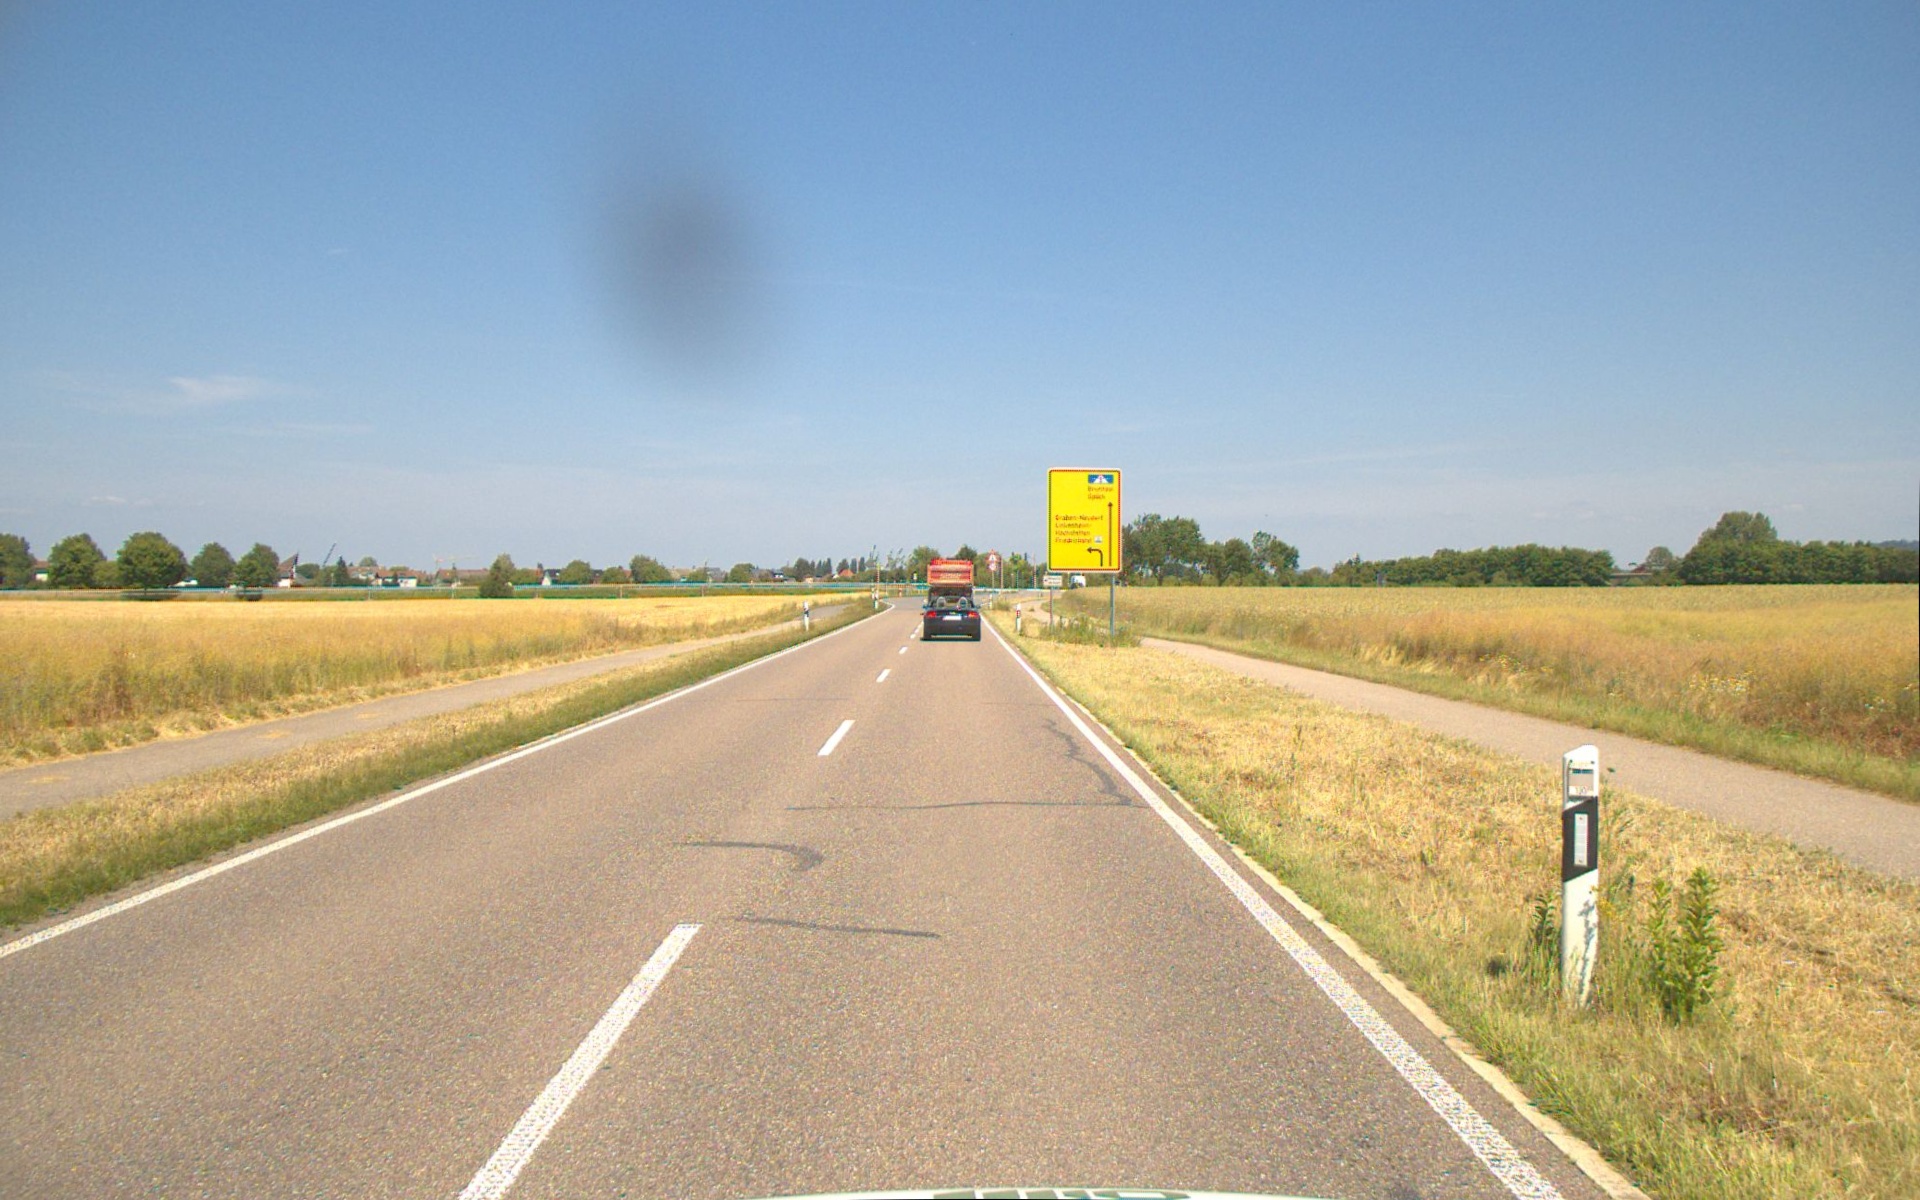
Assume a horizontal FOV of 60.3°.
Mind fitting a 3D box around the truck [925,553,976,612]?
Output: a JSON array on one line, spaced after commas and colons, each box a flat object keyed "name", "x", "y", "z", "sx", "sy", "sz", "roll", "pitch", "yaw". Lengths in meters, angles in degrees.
[{"name": "truck", "x": -0.544, "y": -0.924, "z": 92.368, "sx": 2.658, "sy": 3.106, "sz": 8.163, "roll": 1, "pitch": 0, "yaw": 0}]

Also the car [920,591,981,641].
[{"name": "car", "x": -0.288, "y": 0.481, "z": 49.890, "sx": 1.712, "sy": 1.399, "sz": 3.679, "roll": 2, "pitch": 0, "yaw": 0}]
